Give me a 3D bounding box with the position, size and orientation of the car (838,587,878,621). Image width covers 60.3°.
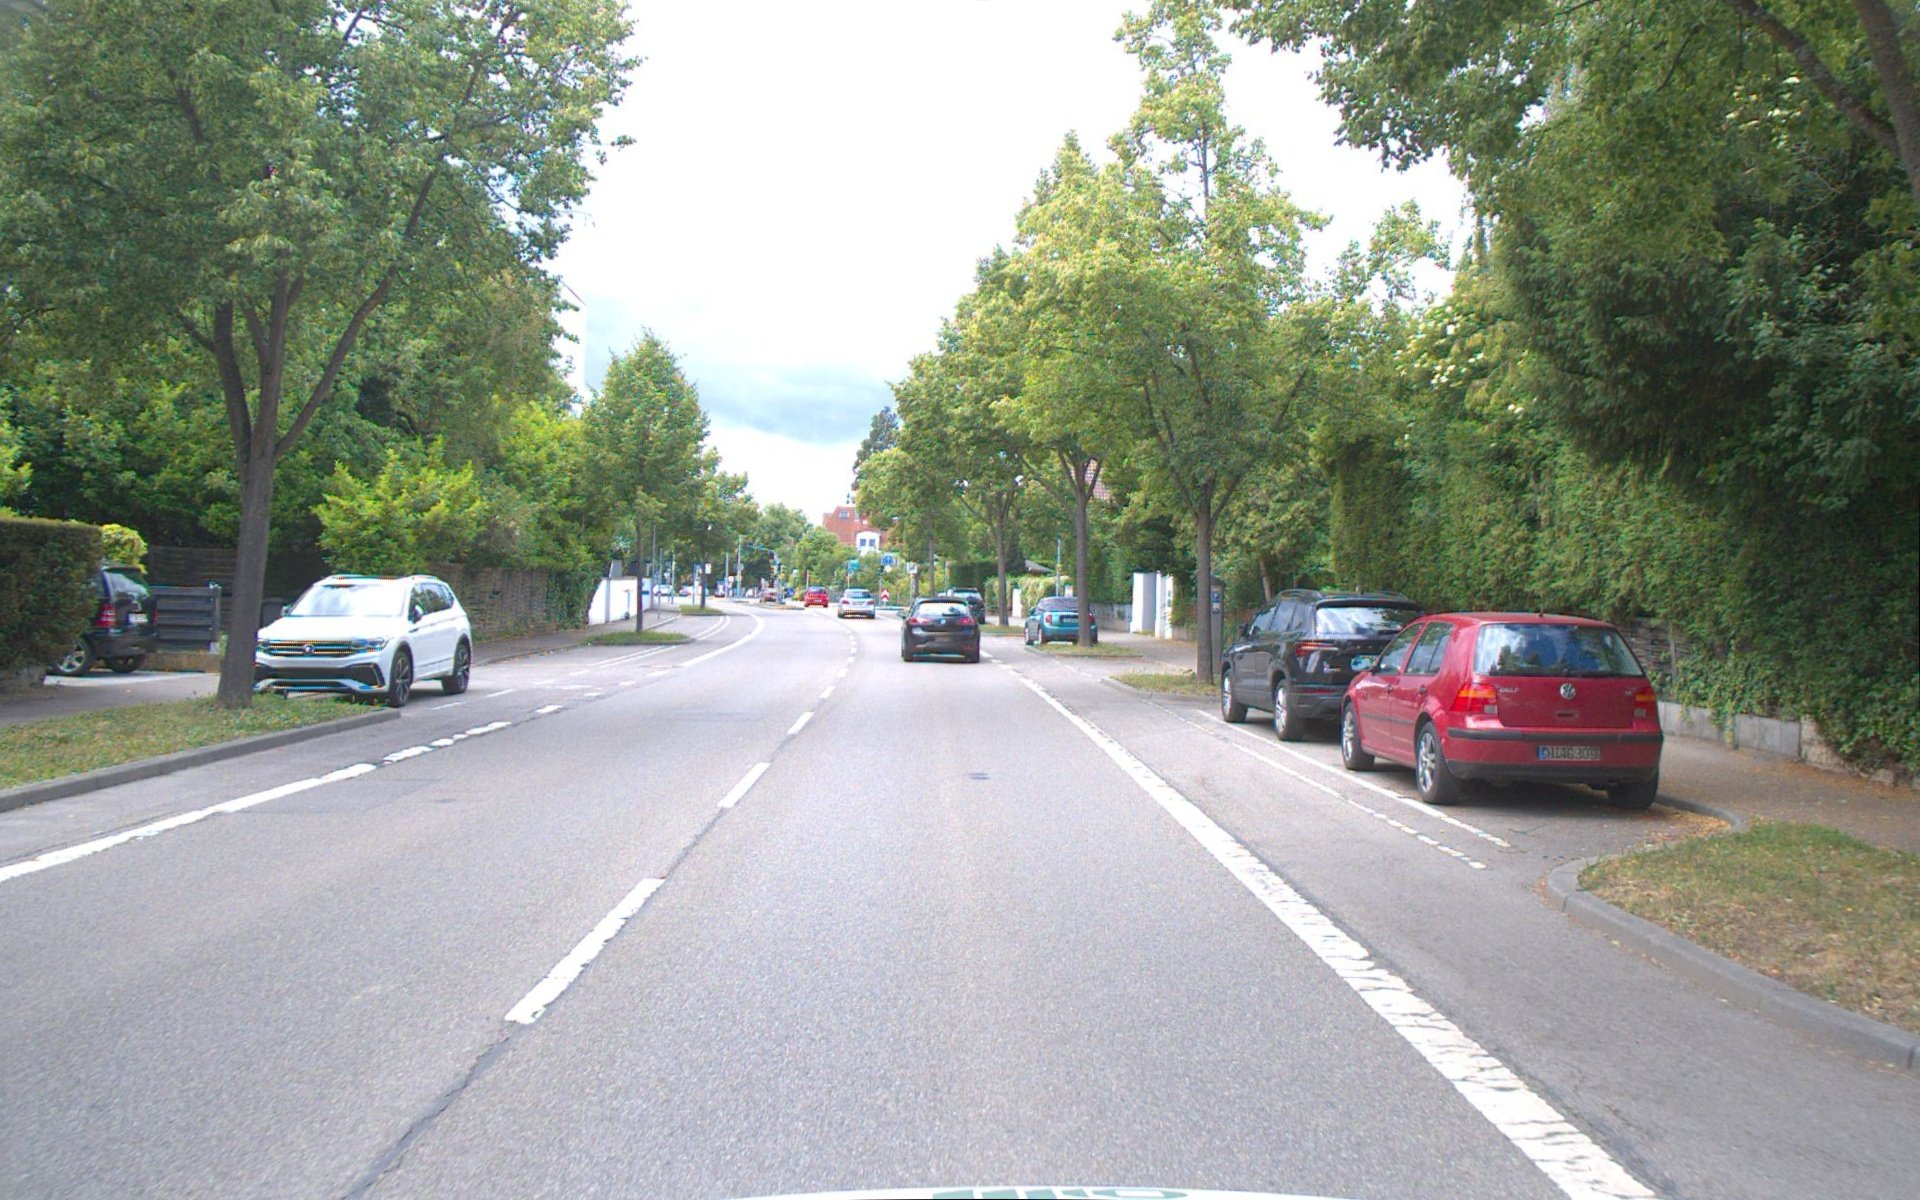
[{"bbox_3d":[-5.314,0.222,85.926,1.954,1.585,3.995,0,-2,-5],"label":"car"}]

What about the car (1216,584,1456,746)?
[{"bbox_3d":[4.219,0.667,19.189,1.605,1.644,4.167,1,0,-3],"label":"car"}]

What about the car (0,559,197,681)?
[{"bbox_3d":[-13.088,0.255,22.981,4.112,1.613,1.764,1,0,-1],"label":"car"}]

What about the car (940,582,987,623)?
[{"bbox_3d":[0.146,0.094,76.192,1.754,1.803,3.977,1,0,-6],"label":"car"}]

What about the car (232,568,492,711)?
[{"bbox_3d":[-7.952,0.470,22.529,1.835,1.718,4.865,1,0,-1],"label":"car"}]

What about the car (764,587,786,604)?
[{"bbox_3d":[-17.410,-0.443,156.029,1.955,1.534,3.995,2,-1,-6],"label":"car"}]

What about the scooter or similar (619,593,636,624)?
[{"bbox_3d":[-13.018,0.321,64.767,0.492,1.174,1.299,1,0,-6],"label":"scooter or similar"}]

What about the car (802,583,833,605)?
[{"bbox_3d":[-10.413,-0.436,120.688,1.956,1.557,3.993,1,0,-8],"label":"car"}]

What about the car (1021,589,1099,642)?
[{"bbox_3d":[2.889,0.418,48.695,1.650,1.457,4.039,1,0,-6],"label":"car"}]

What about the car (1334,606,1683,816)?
[{"bbox_3d":[4.336,0.790,13.713,1.604,1.445,4.000,1,0,1],"label":"car"}]

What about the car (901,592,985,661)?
[{"bbox_3d":[-0.423,0.578,37.621,1.747,1.474,3.555,1,0,-3],"label":"car"}]

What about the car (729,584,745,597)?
[{"bbox_3d":[-29.660,-1.235,220.129,1.934,1.705,3.874,1,0,-4],"label":"car"}]
